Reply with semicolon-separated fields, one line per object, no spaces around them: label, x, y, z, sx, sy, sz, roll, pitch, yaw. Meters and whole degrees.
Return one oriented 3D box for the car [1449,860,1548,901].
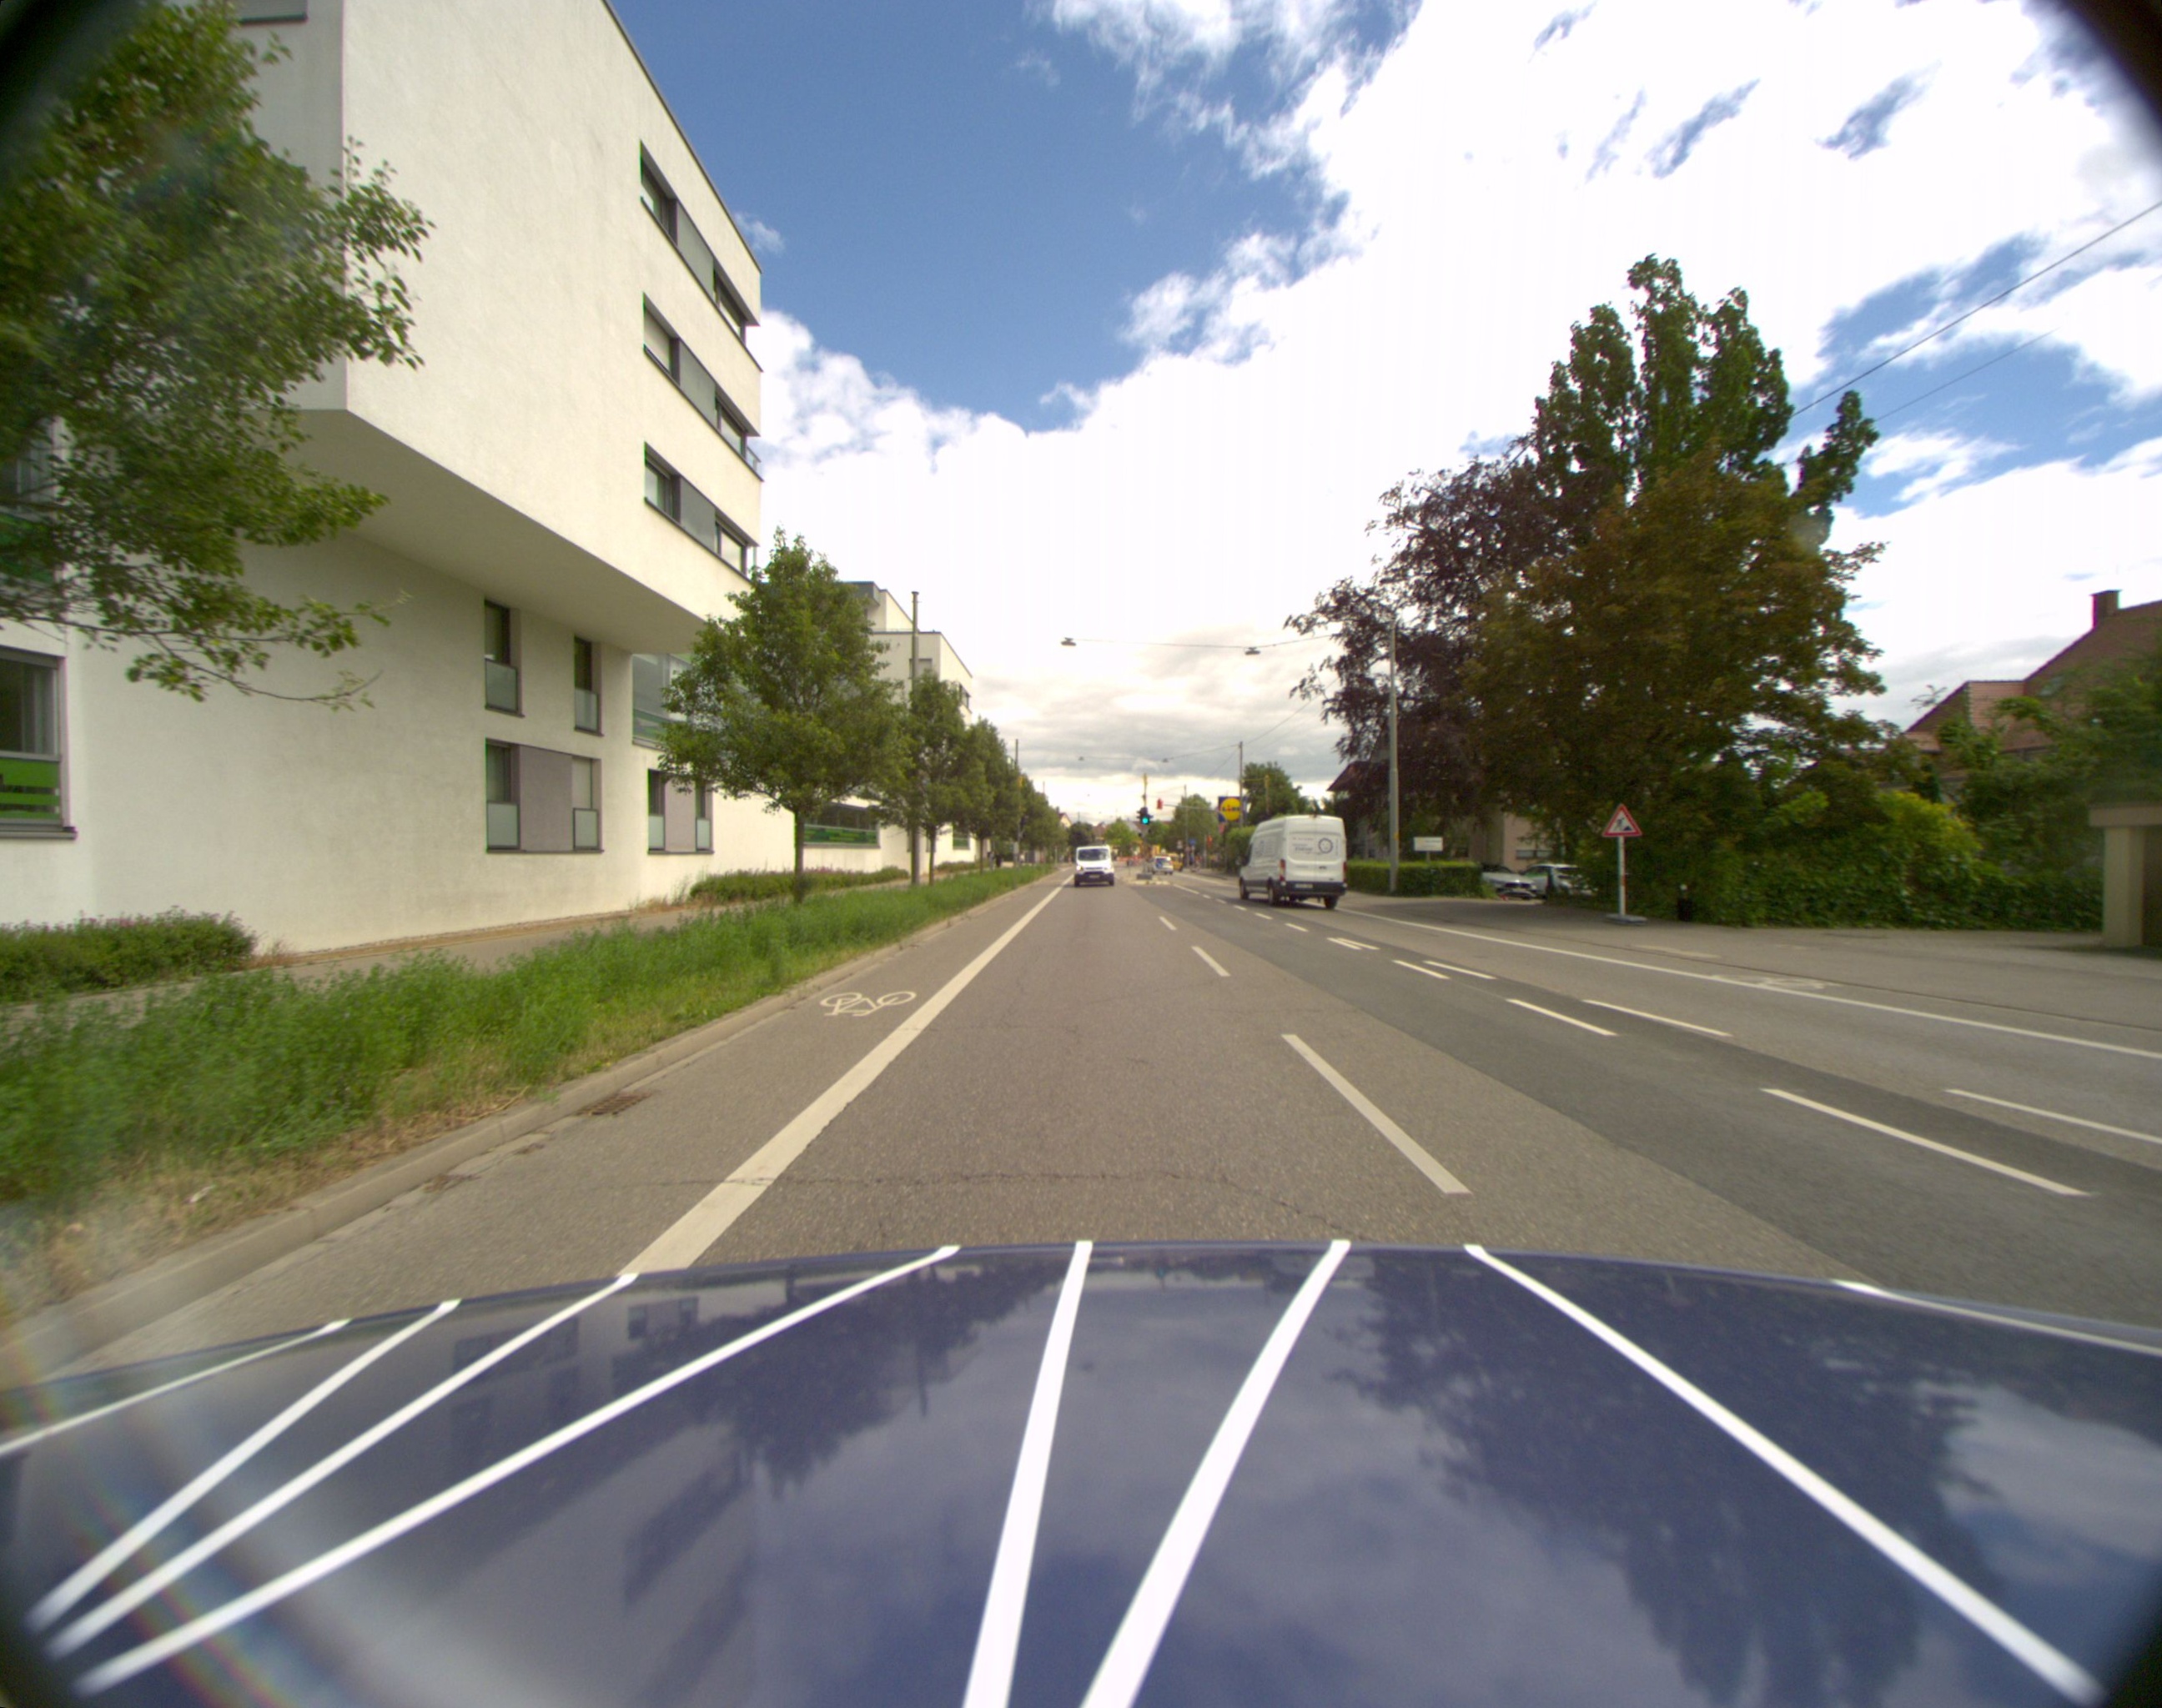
car;16.408;1.014;30.061;1.666;1.380;3.521;2;1;-5

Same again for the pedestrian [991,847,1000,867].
pedestrian;-7.748;0.280;69.021;0.621;1.830;0.588;-3;2;-26

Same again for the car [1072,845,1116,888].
car;0.638;0.546;37.215;1.998;1.905;3.999;-1;1;1

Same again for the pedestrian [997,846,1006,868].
pedestrian;-7.186;0.260;68.542;0.742;1.875;0.701;-2;2;-2

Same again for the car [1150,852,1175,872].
car;6.599;0.619;61.717;1.611;1.510;3.239;2;1;0

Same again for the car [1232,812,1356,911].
car;6.796;0.219;25.129;2.149;2.803;6.147;2;0;-1

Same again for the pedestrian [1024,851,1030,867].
pedestrian;-5.763;0.553;80.817;0.559;1.649;0.607;-2;2;0

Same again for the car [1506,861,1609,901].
car;19.203;1.052;30.813;1.743;1.380;3.521;1;1;-5

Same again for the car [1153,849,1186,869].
car;8.860;0.457;75.556;1.995;1.774;4.006;-1;1;26
